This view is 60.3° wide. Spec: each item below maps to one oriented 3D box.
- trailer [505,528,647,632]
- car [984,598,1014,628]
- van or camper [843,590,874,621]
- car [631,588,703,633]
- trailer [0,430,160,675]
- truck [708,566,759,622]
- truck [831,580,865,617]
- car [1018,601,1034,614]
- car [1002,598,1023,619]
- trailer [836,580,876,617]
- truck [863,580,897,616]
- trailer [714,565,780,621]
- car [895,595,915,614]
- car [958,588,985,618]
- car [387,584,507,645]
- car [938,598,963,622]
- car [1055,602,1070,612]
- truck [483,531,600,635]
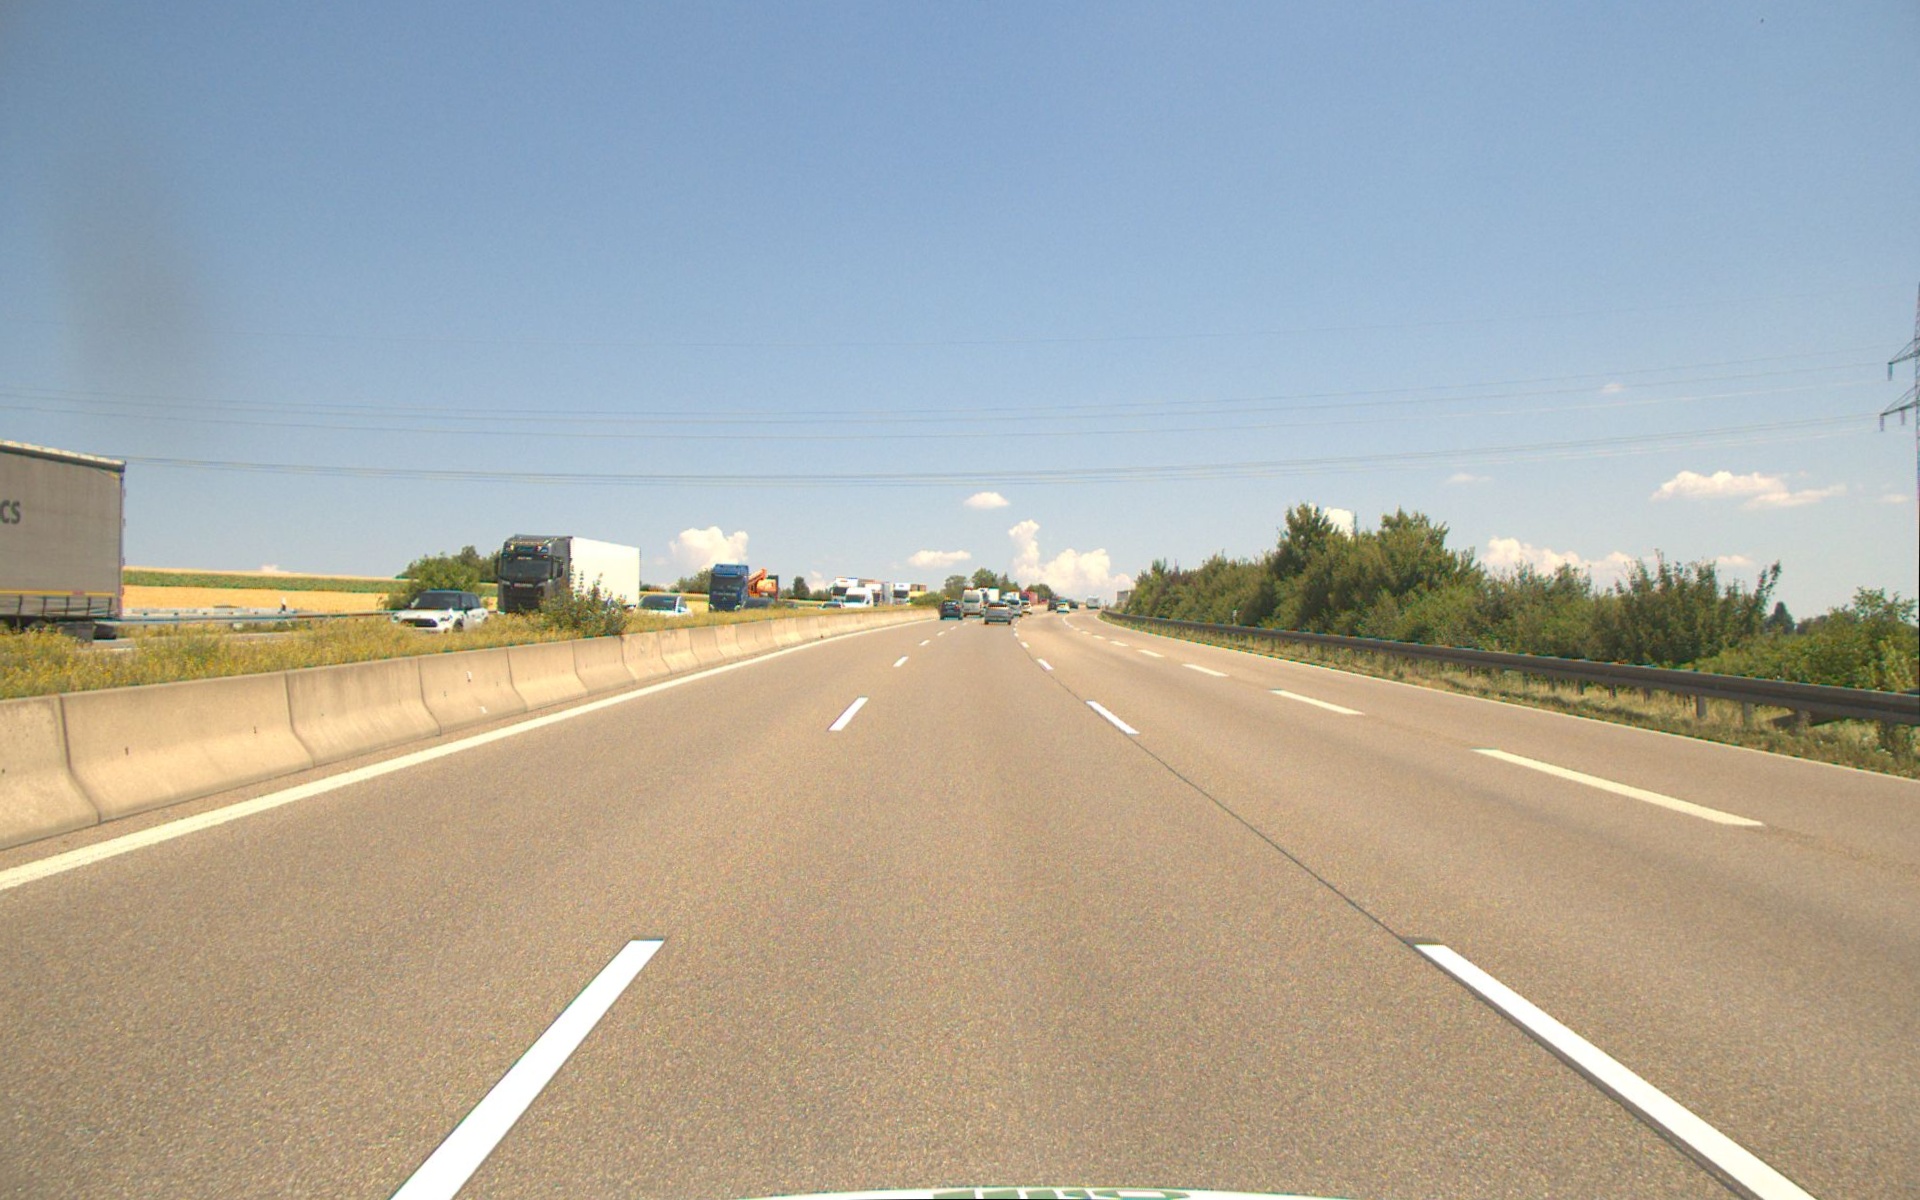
[{"bbox_3d":[-18.130,-0.860,79.287,3.175,4.464,14.029,1,0,1],"label":"trailer"},{"bbox_3d":[2.671,0.901,112.669,1.952,1.781,4.000,1,-3,2],"label":"car"},{"bbox_3d":[-8.533,0.456,139.688,2.024,2.507,7.521,-1,-1,1],"label":"van or camper"},{"bbox_3d":[-10.923,0.391,62.007,1.841,1.598,4.588,1,0,0],"label":"car"},{"bbox_3d":[-18.823,-0.897,28.117,3.059,4.400,14.545,1,-1,1],"label":"trailer"},{"bbox_3d":[-16.676,-0.431,122.025,2.718,4.007,6.139,1,0,1],"label":"truck"},{"bbox_3d":[-12.540,-0.144,185.965,2.793,4.098,6.518,1,0,4],"label":"truck"},{"bbox_3d":[8.169,0.934,204.201,1.952,1.579,4.002,2,0,3],"label":"car"},{"bbox_3d":[5.403,0.874,170.107,1.951,1.937,4.001,1,-3,4],"label":"car"},{"bbox_3d":[-12.008,-0.127,192.169,2.734,4.177,14.014,1,0,4],"label":"trailer"},{"bbox_3d":[-8.661,-0.199,179.859,2.875,3.809,7.782,1,0,2],"label":"truck"},{"bbox_3d":[-16.440,-0.461,128.685,2.780,4.027,13.731,1,0,2],"label":"trailer"},{"bbox_3d":[-7.750,0.636,233.434,2.282,2.602,5.609,1,1,4],"label":"car"},{"bbox_3d":[1.114,0.315,159.993,2.134,2.671,4.674,1,-3,6],"label":"car"},{"bbox_3d":[-14.473,0.414,46.939,1.952,1.615,4.588,0,-1,0],"label":"car"},{"bbox_3d":[-0.782,0.827,137.374,1.809,1.893,4.207,1,1,3],"label":"car"},{"bbox_3d":[14.483,0.984,234.092,1.861,1.467,4.003,1,0,8],"label":"car"},{"bbox_3d":[-18.264,-0.710,72.713,3.160,4.280,7.127,1,0,1],"label":"truck"}]
